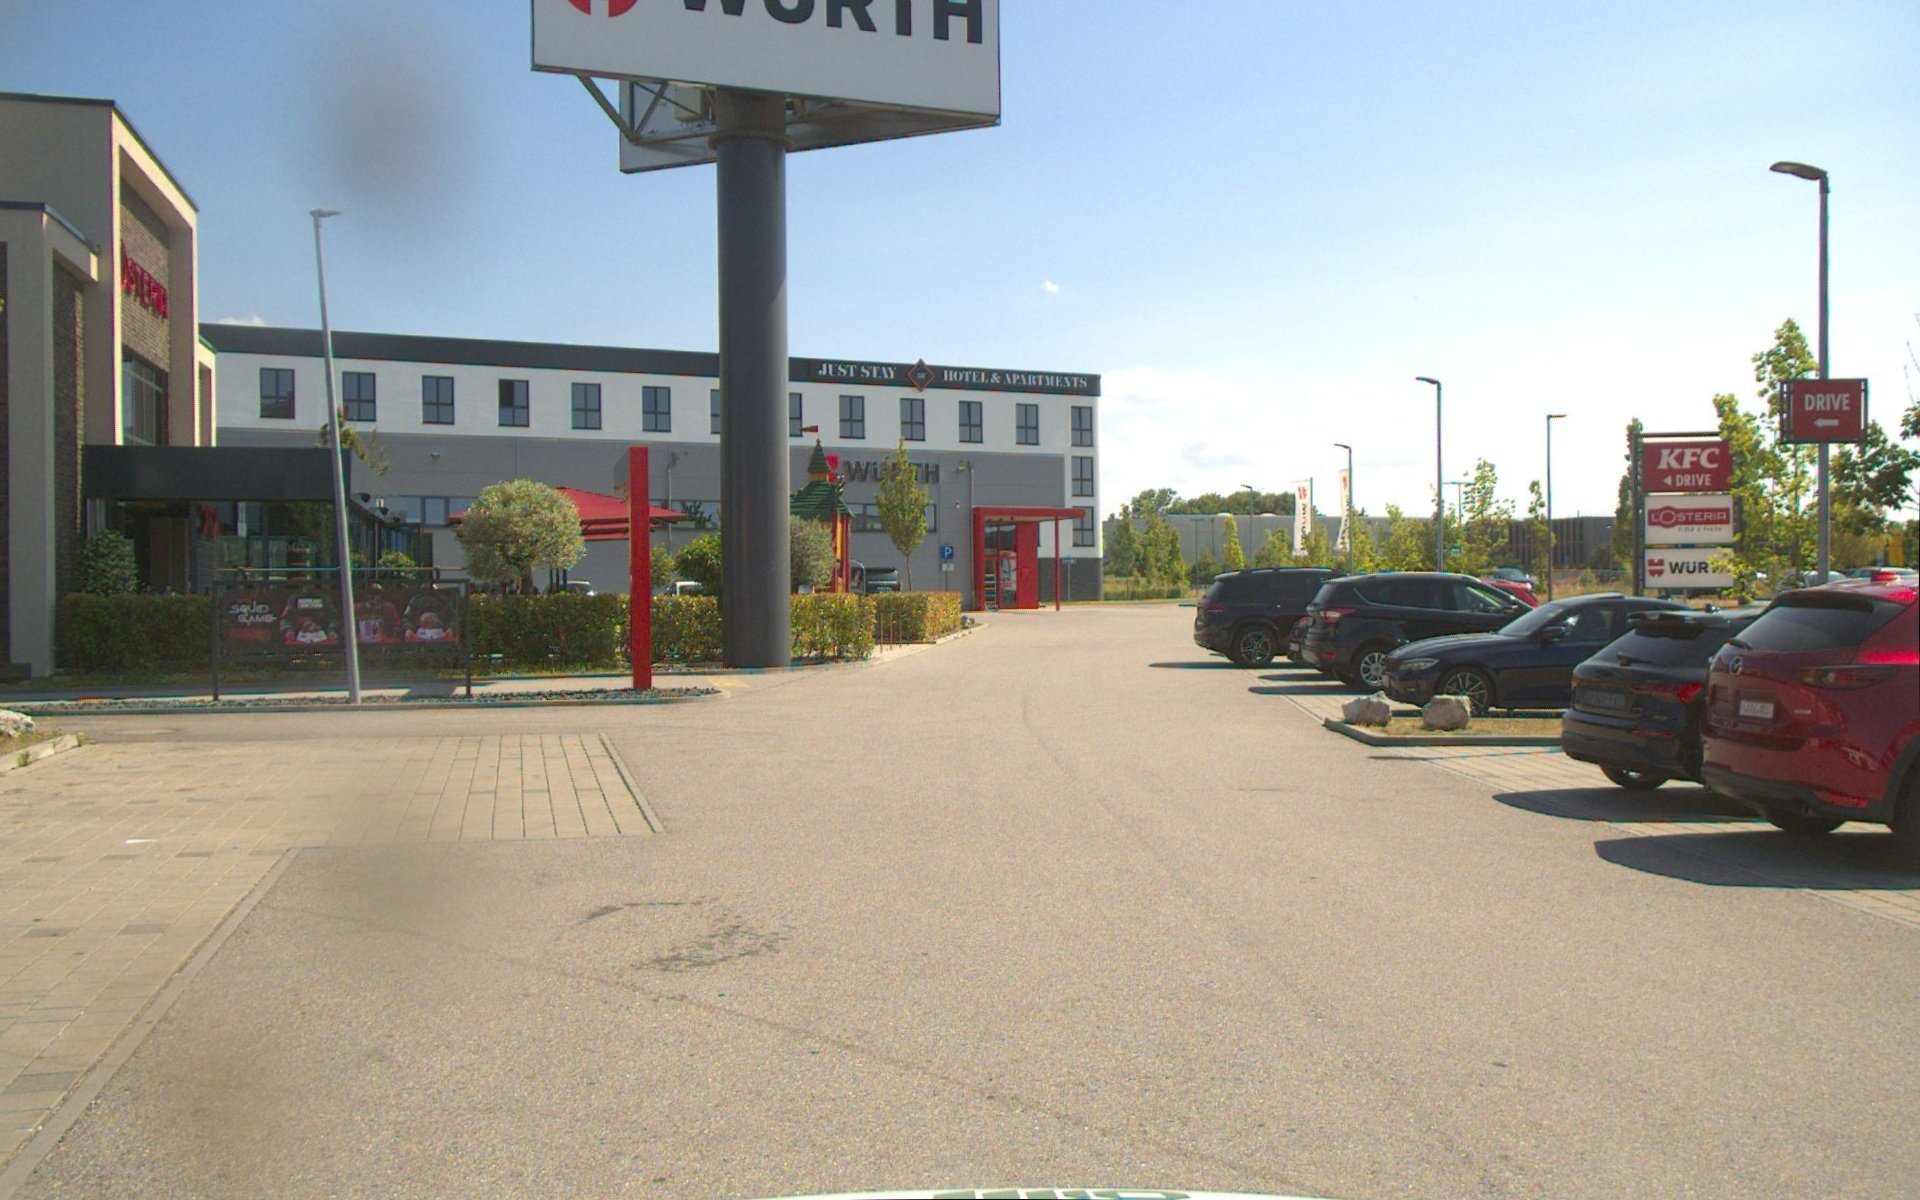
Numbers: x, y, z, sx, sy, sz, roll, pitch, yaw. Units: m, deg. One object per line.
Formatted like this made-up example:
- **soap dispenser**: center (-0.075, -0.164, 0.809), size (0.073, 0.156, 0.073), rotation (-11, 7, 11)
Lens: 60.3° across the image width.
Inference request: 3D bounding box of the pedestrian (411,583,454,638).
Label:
- **pedestrian**: center (-11.885, 0.235, 37.254), size (0.692, 1.219, 0.617), rotation (0, 1, 15)

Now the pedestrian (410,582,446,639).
- **pedestrian**: center (-11.669, 0.216, 36.276), size (0.698, 1.219, 0.663), rotation (-1, 1, -23)

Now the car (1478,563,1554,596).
- **car**: center (30.297, -1.137, 90.270), size (1.957, 1.763, 4.749), rotation (-1, 1, -10)

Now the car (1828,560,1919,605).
- **car**: center (33.430, -0.664, 59.710), size (1.952, 1.530, 4.660), rotation (-1, 1, 3)

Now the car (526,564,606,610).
- **car**: center (-14.548, -0.506, 60.964), size (1.924, 1.613, 4.339), rotation (-1, 1, -27)

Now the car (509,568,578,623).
- **car**: center (-10.860, -0.136, 43.328), size (1.614, 1.331, 3.829), rotation (-1, 1, -13)

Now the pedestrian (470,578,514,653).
- **pedestrian**: center (-8.804, 0.282, 31.137), size (0.645, 1.390, 0.475), rotation (-1, 1, -41)

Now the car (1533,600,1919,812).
- **car**: center (6.680, 0.734, 12.479), size (4.112, 1.435, 1.771), rotation (0, 0, -6)

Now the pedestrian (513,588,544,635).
- **pedestrian**: center (-10.192, 0.266, 39.087), size (0.564, 1.108, 0.545), rotation (-1, 1, 0)

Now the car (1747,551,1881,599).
- **car**: center (28.760, -0.863, 55.879), size (1.954, 1.553, 4.655), rotation (-1, 1, -3)

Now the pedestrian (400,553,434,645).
- **pedestrian**: center (-9.123, -0.020, 27.795), size (0.516, 1.531, 0.566), rotation (-1, 1, -18)

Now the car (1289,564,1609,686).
- **car**: center (7.225, 0.348, 24.733), size (4.230, 1.732, 1.896), rotation (0, 0, 0)

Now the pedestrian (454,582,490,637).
- **pedestrian**: center (-11.083, 0.218, 37.584), size (0.694, 1.219, 0.615), rotation (-1, 1, -8)

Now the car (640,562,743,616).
- **car**: center (-8.314, -0.362, 50.969), size (1.924, 1.557, 4.339), rotation (-1, 1, -27)

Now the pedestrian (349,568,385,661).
- **pedestrian**: center (-9.919, 0.234, 27.668), size (0.516, 1.531, 0.566), rotation (-1, 1, -18)

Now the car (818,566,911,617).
- **car**: center (-3.793, -0.358, 64.708), size (2.044, 1.913, 4.842), rotation (-1, 1, -24)

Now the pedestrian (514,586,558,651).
- **pedestrian**: center (-8.048, 0.337, 31.391), size (0.645, 1.205, 0.475), rotation (-1, 1, -41)

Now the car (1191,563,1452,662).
- **car**: center (6.673, 0.214, 30.875), size (4.480, 1.791, 1.896), rotation (0, 0, 1)

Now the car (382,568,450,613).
- **car**: center (-19.275, -0.364, 58.502), size (1.711, 1.513, 3.917), rotation (-1, 1, -27)

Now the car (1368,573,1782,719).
- **car**: center (7.330, 0.513, 20.068), size (4.343, 1.666, 1.896), rotation (0, 0, 4)

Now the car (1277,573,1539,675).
- **car**: center (7.511, 0.382, 28.059), size (3.983, 1.637, 1.897), rotation (0, 1, 3)

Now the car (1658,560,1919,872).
- **car**: center (6.671, 0.615, 9.945), size (4.134, 1.666, 1.949), rotation (0, 0, -4)
